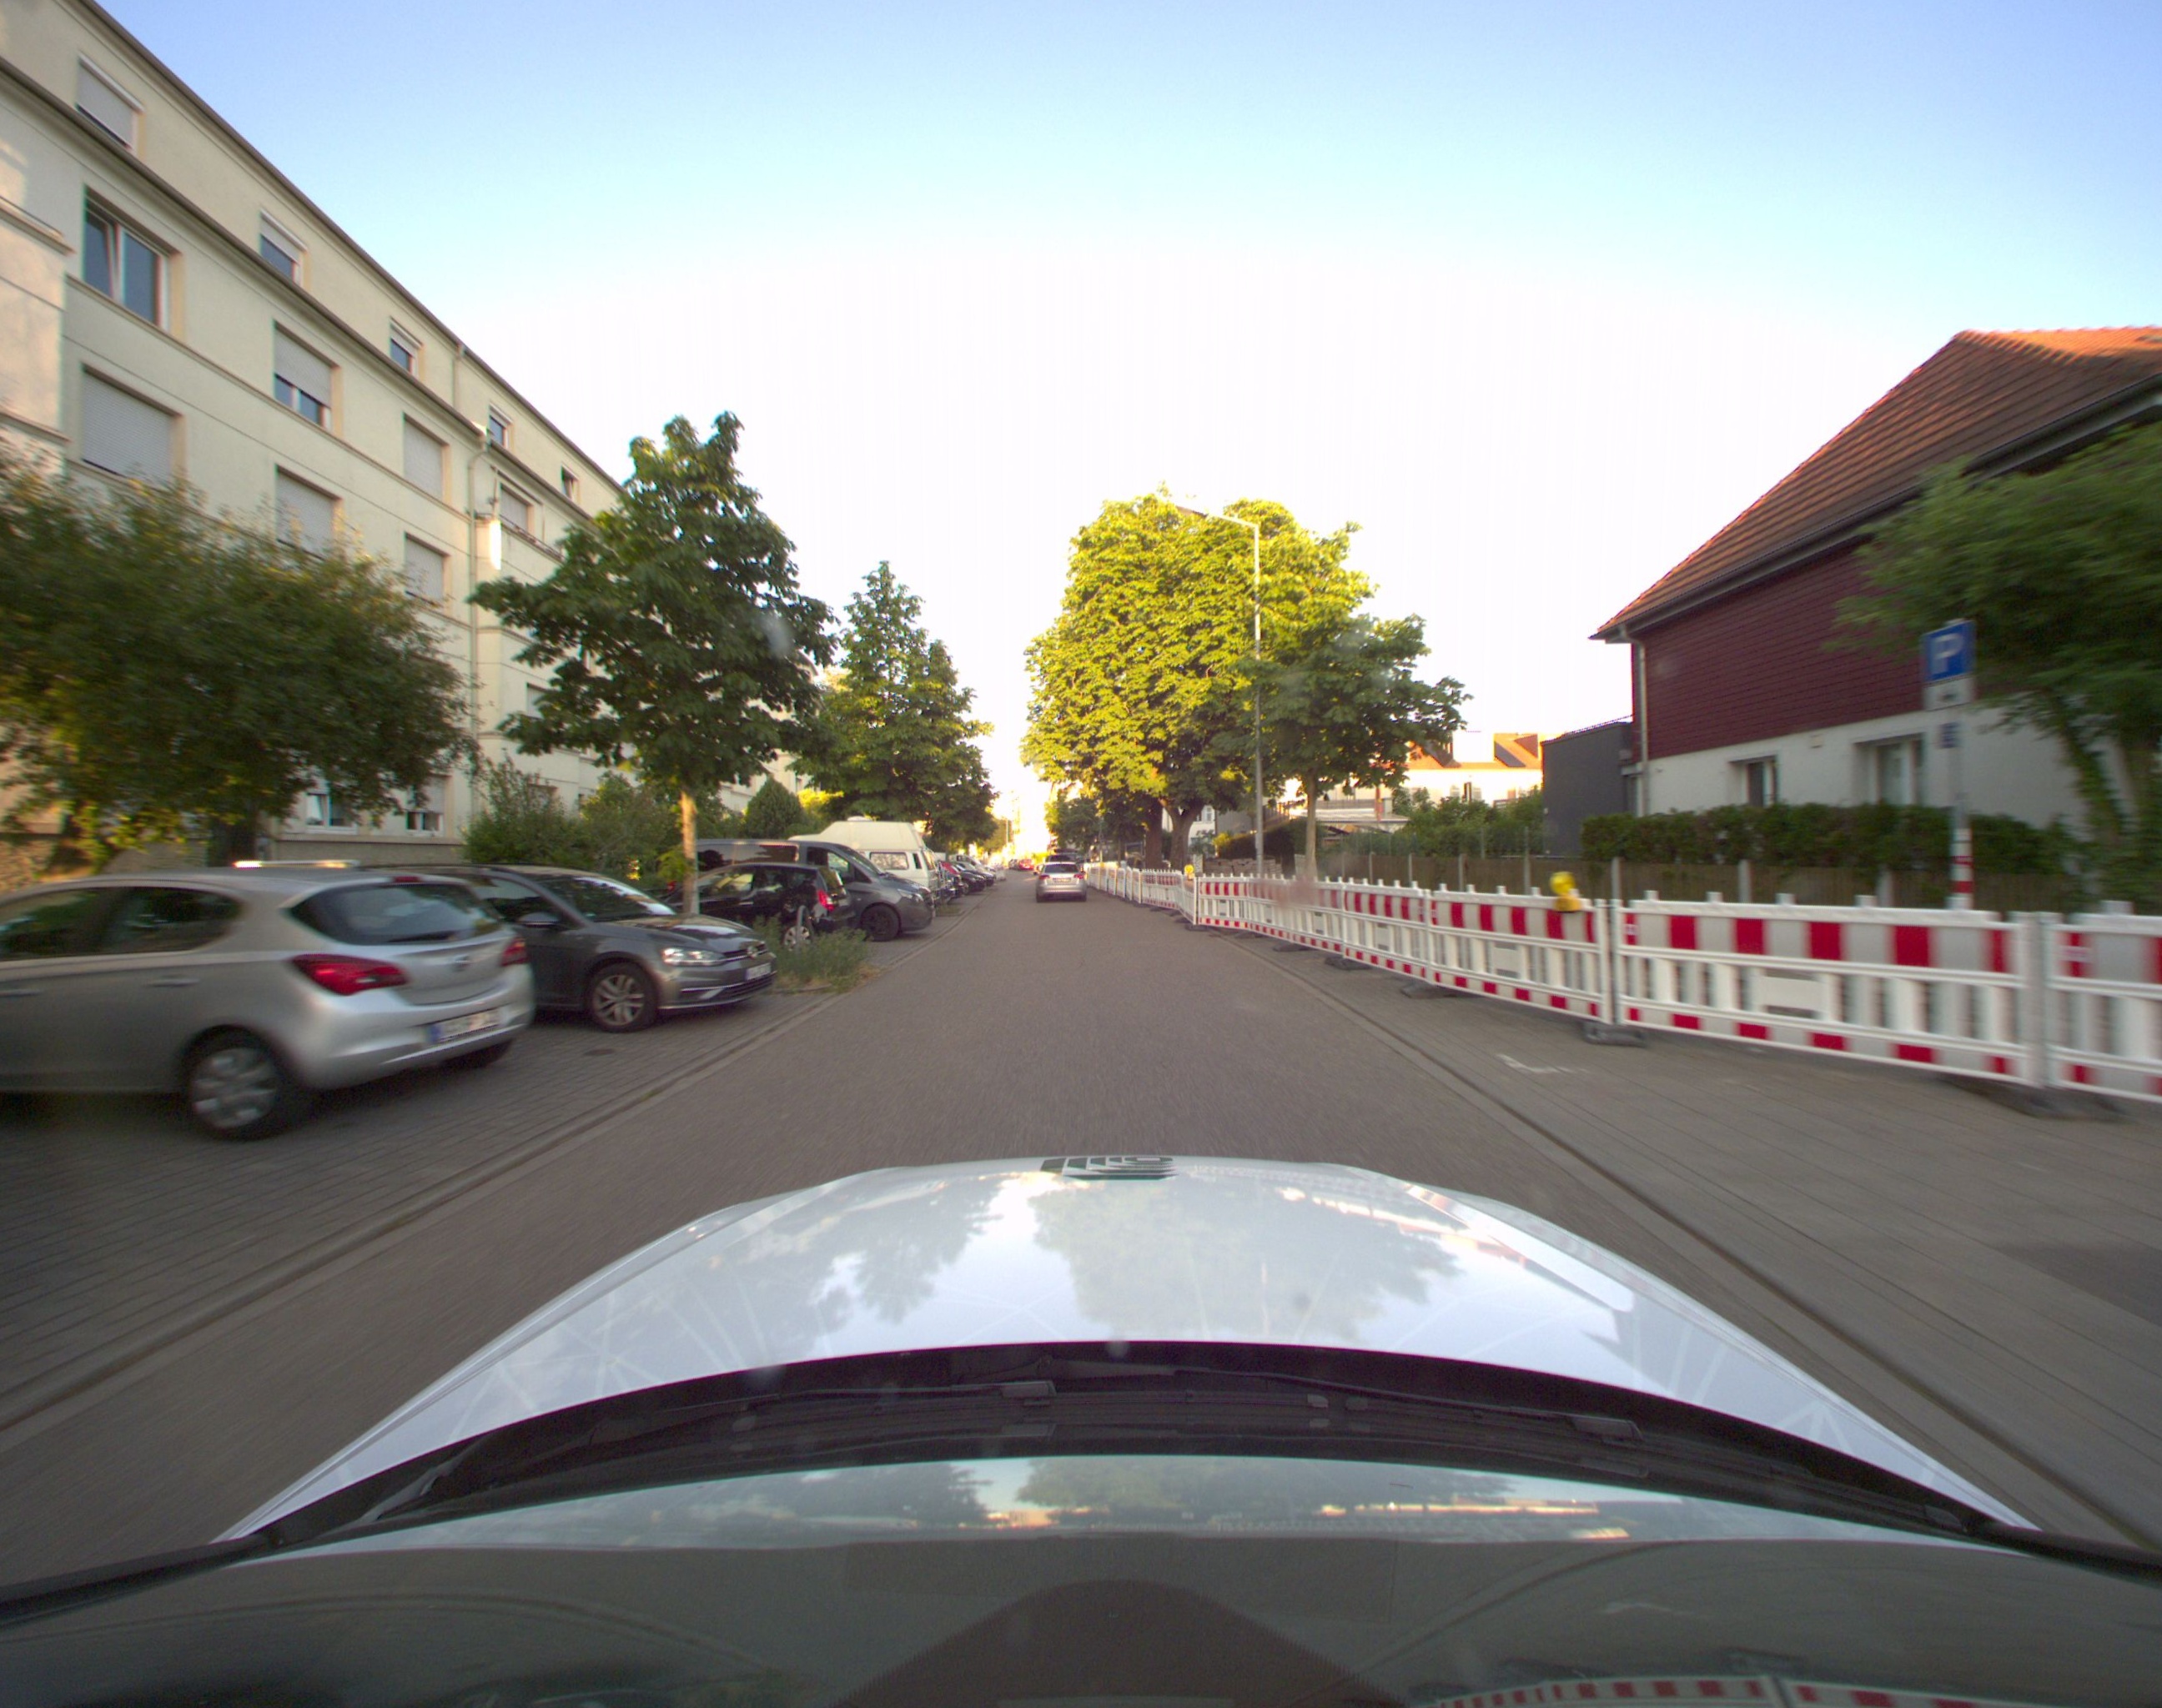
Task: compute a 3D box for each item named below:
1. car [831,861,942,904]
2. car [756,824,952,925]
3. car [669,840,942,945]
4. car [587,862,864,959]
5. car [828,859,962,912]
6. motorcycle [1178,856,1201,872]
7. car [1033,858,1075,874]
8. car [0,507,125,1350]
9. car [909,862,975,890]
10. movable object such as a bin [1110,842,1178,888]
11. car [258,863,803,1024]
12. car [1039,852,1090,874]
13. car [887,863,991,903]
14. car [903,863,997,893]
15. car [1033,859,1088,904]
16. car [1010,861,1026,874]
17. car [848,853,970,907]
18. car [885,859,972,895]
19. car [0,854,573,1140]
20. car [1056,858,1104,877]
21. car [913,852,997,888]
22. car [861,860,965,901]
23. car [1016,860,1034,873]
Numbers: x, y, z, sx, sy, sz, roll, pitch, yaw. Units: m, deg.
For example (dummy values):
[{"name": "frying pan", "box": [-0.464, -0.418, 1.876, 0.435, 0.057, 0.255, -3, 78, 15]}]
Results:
[{"name": "car", "box": [-7.451, 1.066, 31.541, 3.984, 1.524, 1.785, -1, 0, -8]}, {"name": "car", "box": [-5.733, 0.505, 21.015, 4.492, 2.431, 1.998, -1, 0, -3]}, {"name": "car", "box": [-5.210, 0.700, 15.949, 4.663, 1.873, 1.998, -1, 0, -3]}, {"name": "car", "box": [-5.621, 0.864, 13.229, 3.759, 1.439, 1.654, 0, 0, -2]}, {"name": "car", "box": [-5.853, 0.972, 26.007, 3.850, 1.595, 1.784, -1, 0, -2]}, {"name": "motorcycle", "box": [7.858, 0.703, 58.962, 1.856, 1.106, 0.574, -1, 0, -38]}, {"name": "car", "box": [-2.875, 1.289, 87.164, 4.157, 1.572, 1.788, -1, 0, -16]}, {"name": "car", "box": [-5.707, 0.250, 1.946, 4.710, 2.569, 2.002, -1, 0, 4]}, {"name": "car", "box": [-7.699, 1.228, 45.456, 3.407, 1.484, 1.756, -1, 0, -4]}, {"name": "movable object such as a bin", "box": [3.462, 0.586, 45.790, 2.628, 2.403, 5.179, -1, 0, -10]}, {"name": "car", "box": [-5.149, 0.791, 7.995, 4.226, 1.394, 1.685, 0, 0, 2]}, {"name": "car", "box": [-1.584, 0.873, 77.412, 4.562, 2.023, 2.091, -1, 0, -14]}, {"name": "car", "box": [-6.232, 1.260, 35.994, 4.405, 1.615, 1.894, -1, 0, -9]}, {"name": "car", "box": [-6.838, 1.228, 42.907, 4.765, 1.470, 1.877, -1, -1, -6]}, {"name": "car", "box": [-0.803, 0.939, 29.561, 1.804, 1.488, 3.994, -1, 0, -4]}, {"name": "car", "box": [-8.115, 1.689, 104.950, 1.808, 1.613, 3.569, -1, 0, -9]}, {"name": "car", "box": [-5.941, 0.894, 28.476, 3.850, 1.777, 1.842, -1, 0, -2]}, {"name": "car", "box": [-7.193, 1.066, 38.705, 3.986, 1.578, 1.796, -1, 0, -9]}, {"name": "car", "box": [-5.762, 0.789, 5.331, 3.790, 1.522, 1.653, 1, 0, 1]}, {"name": "car", "box": [-0.119, 1.179, 72.549, 3.995, 1.651, 1.755, -1, 0, -16]}, {"name": "car", "box": [-7.349, 0.905, 48.017, 4.765, 2.014, 1.996, -1, 0, -6]}, {"name": "car", "box": [-6.912, 1.082, 33.802, 3.980, 1.583, 1.728, -1, 0, -5]}, {"name": "car", "box": [-6.466, 1.405, 94.298, 1.730, 1.483, 3.546, -1, 0, -9]}]
